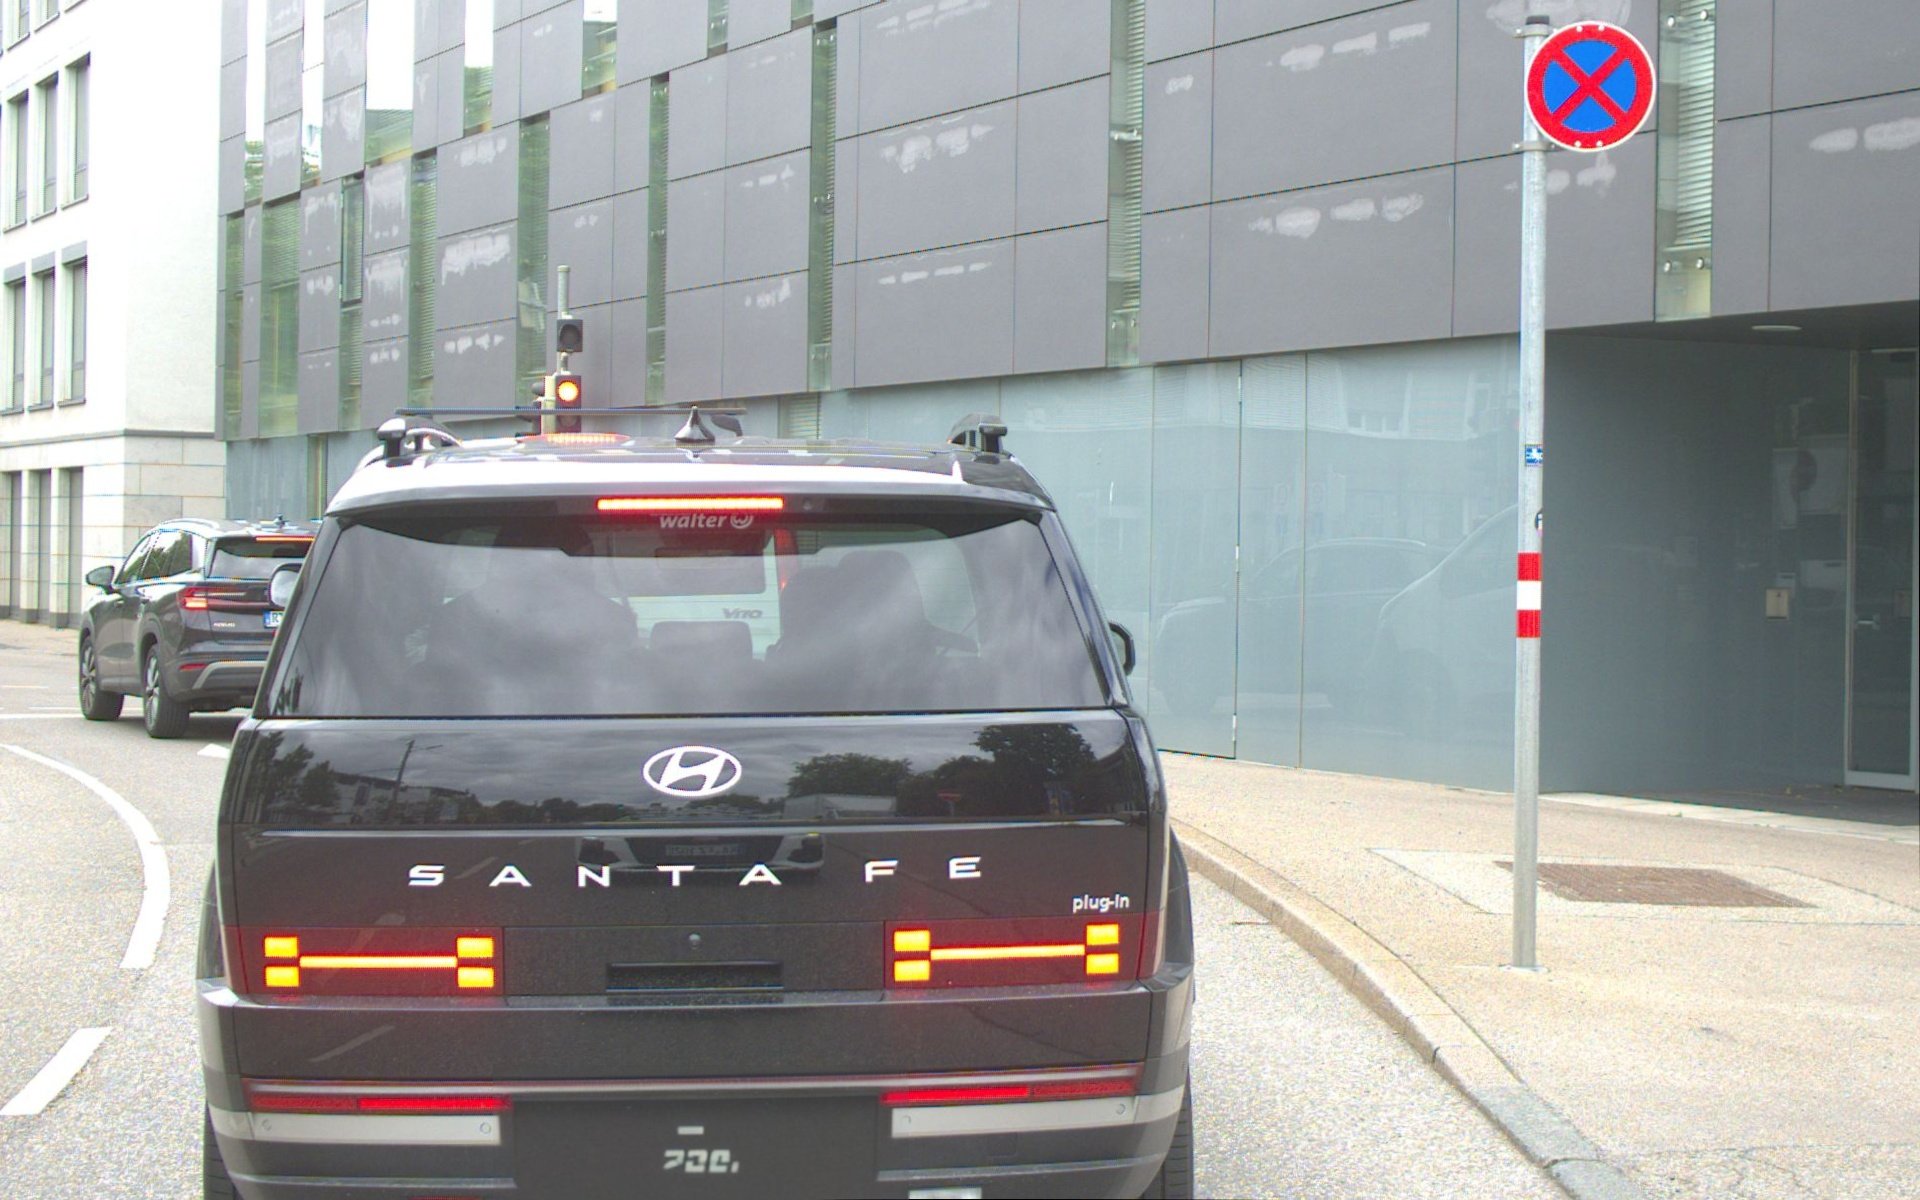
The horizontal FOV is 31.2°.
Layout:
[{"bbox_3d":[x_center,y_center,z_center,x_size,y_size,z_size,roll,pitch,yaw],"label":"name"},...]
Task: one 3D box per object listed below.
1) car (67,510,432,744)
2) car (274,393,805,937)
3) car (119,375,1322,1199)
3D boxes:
[{"bbox_3d":[-5.662,0.166,26.982,1.847,1.671,4.376,-1,1,-25],"label":"car"},{"bbox_3d":[-2.004,0.210,15.149,1.855,2.026,4.438,1,1,-13],"label":"car"},{"bbox_3d":[-0.523,0.496,7.726,1.915,1.719,4.171,2,1,-4],"label":"car"}]
